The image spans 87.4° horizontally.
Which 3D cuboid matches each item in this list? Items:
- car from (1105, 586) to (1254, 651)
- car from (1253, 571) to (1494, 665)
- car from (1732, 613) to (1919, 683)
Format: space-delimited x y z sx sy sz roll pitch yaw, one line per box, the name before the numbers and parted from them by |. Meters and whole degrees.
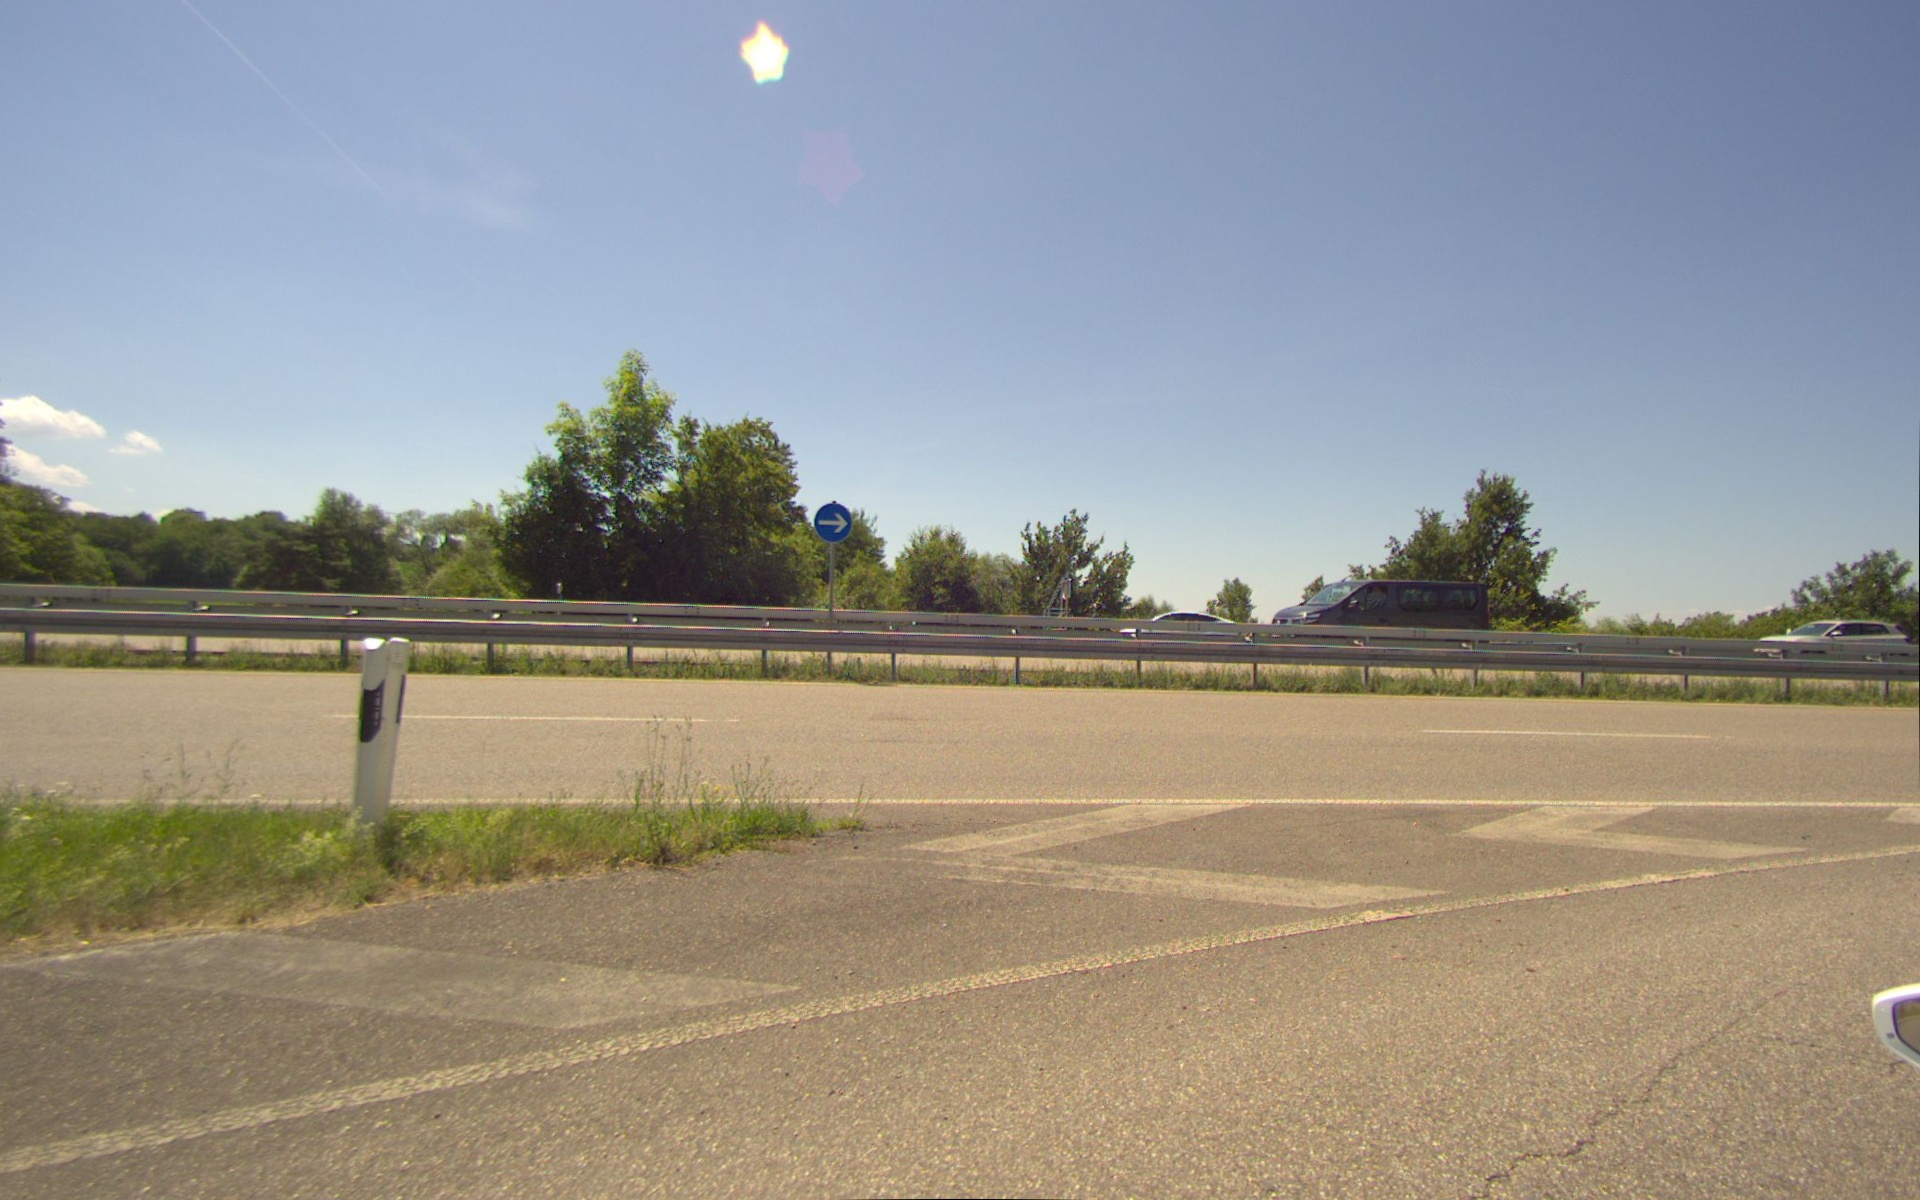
car | 7.517 0.620 34.837 4.813 1.918 1.942 3 0 7
car | 9.822 0.428 24.111 4.819 1.918 2.210 3 0 -5
car | 27.904 1.496 32.001 4.814 1.918 2.212 3 0 2
